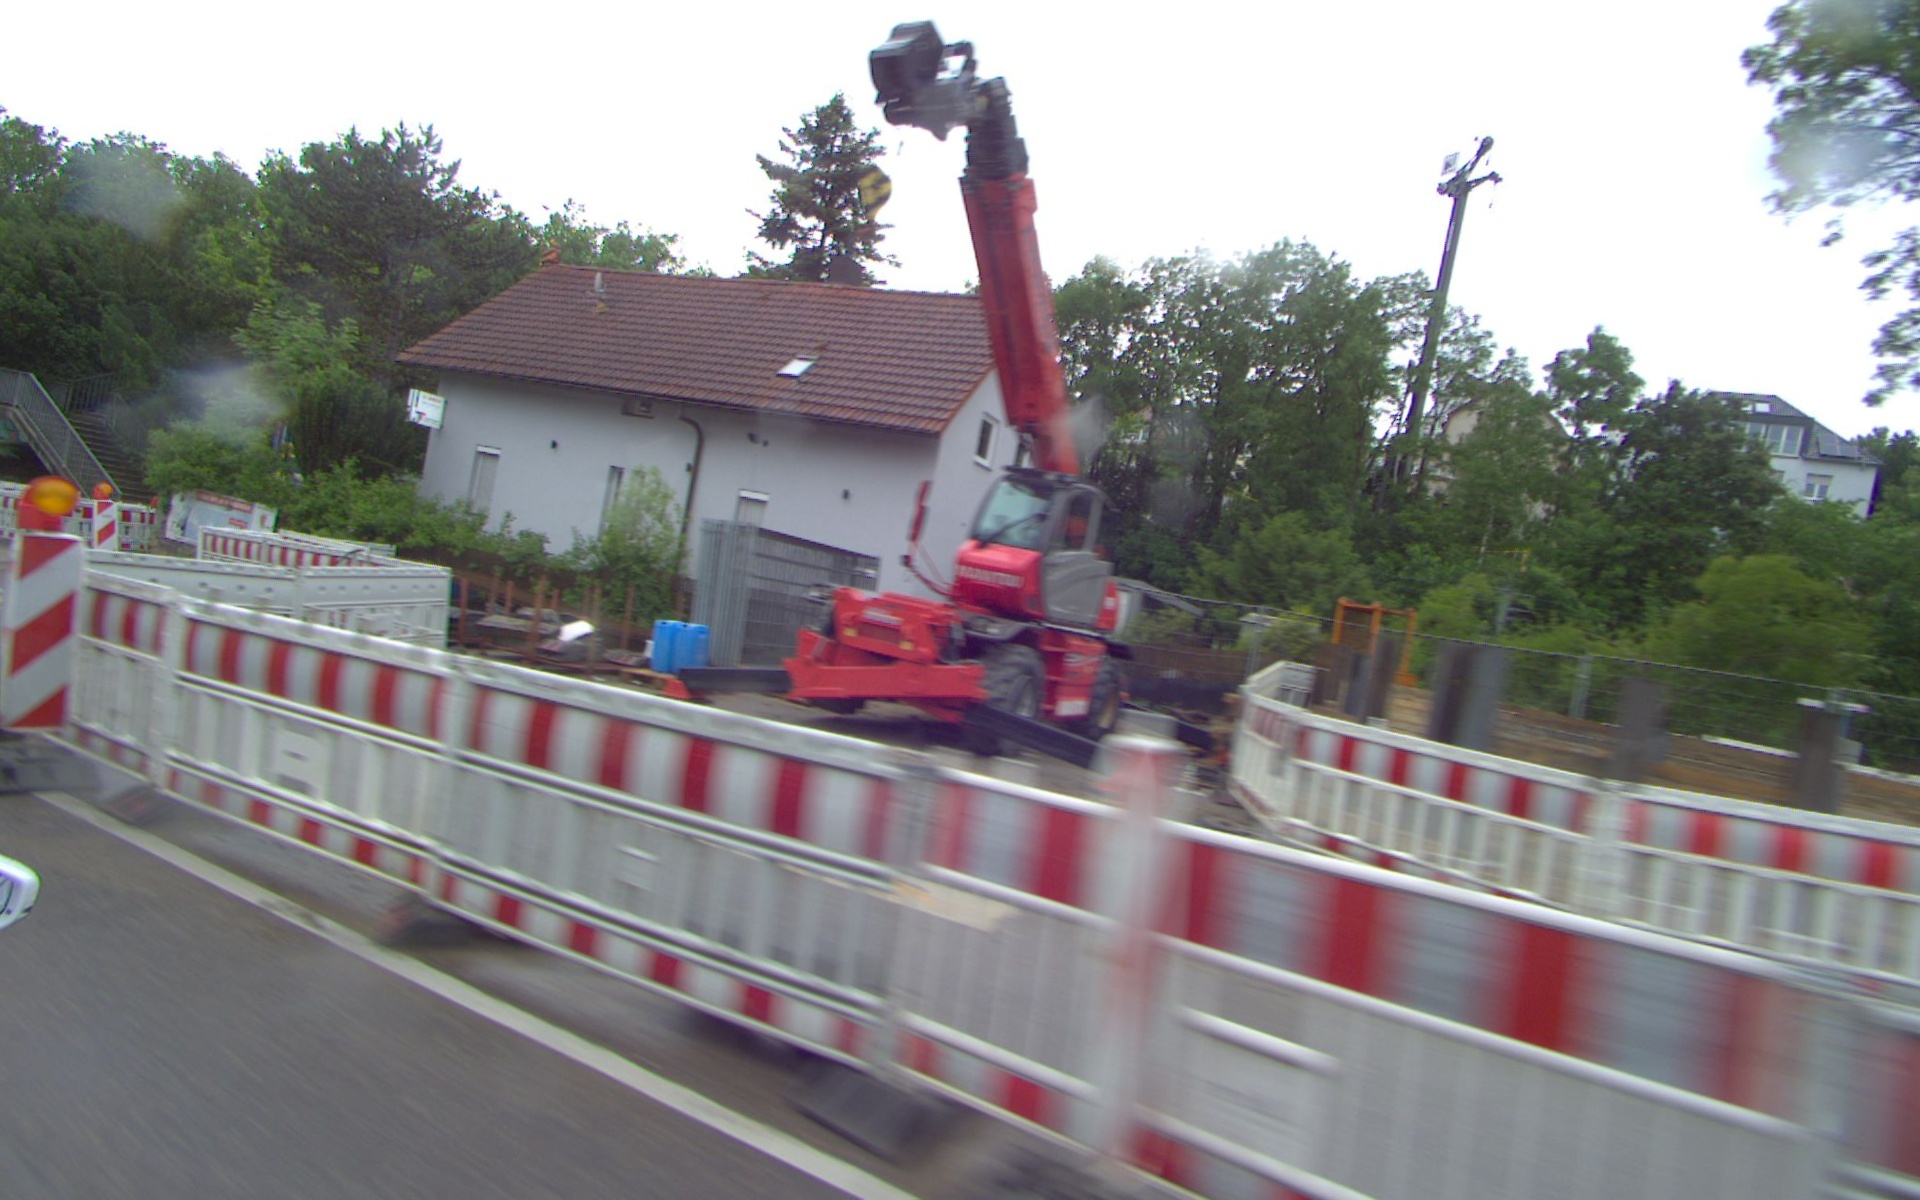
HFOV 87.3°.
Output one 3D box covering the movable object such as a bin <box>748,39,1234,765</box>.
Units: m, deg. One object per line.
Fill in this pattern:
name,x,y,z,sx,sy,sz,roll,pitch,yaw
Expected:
movable object such as a bin,1.002,-1.703,13.098,2.991,6.768,6.970,7,-1,26
